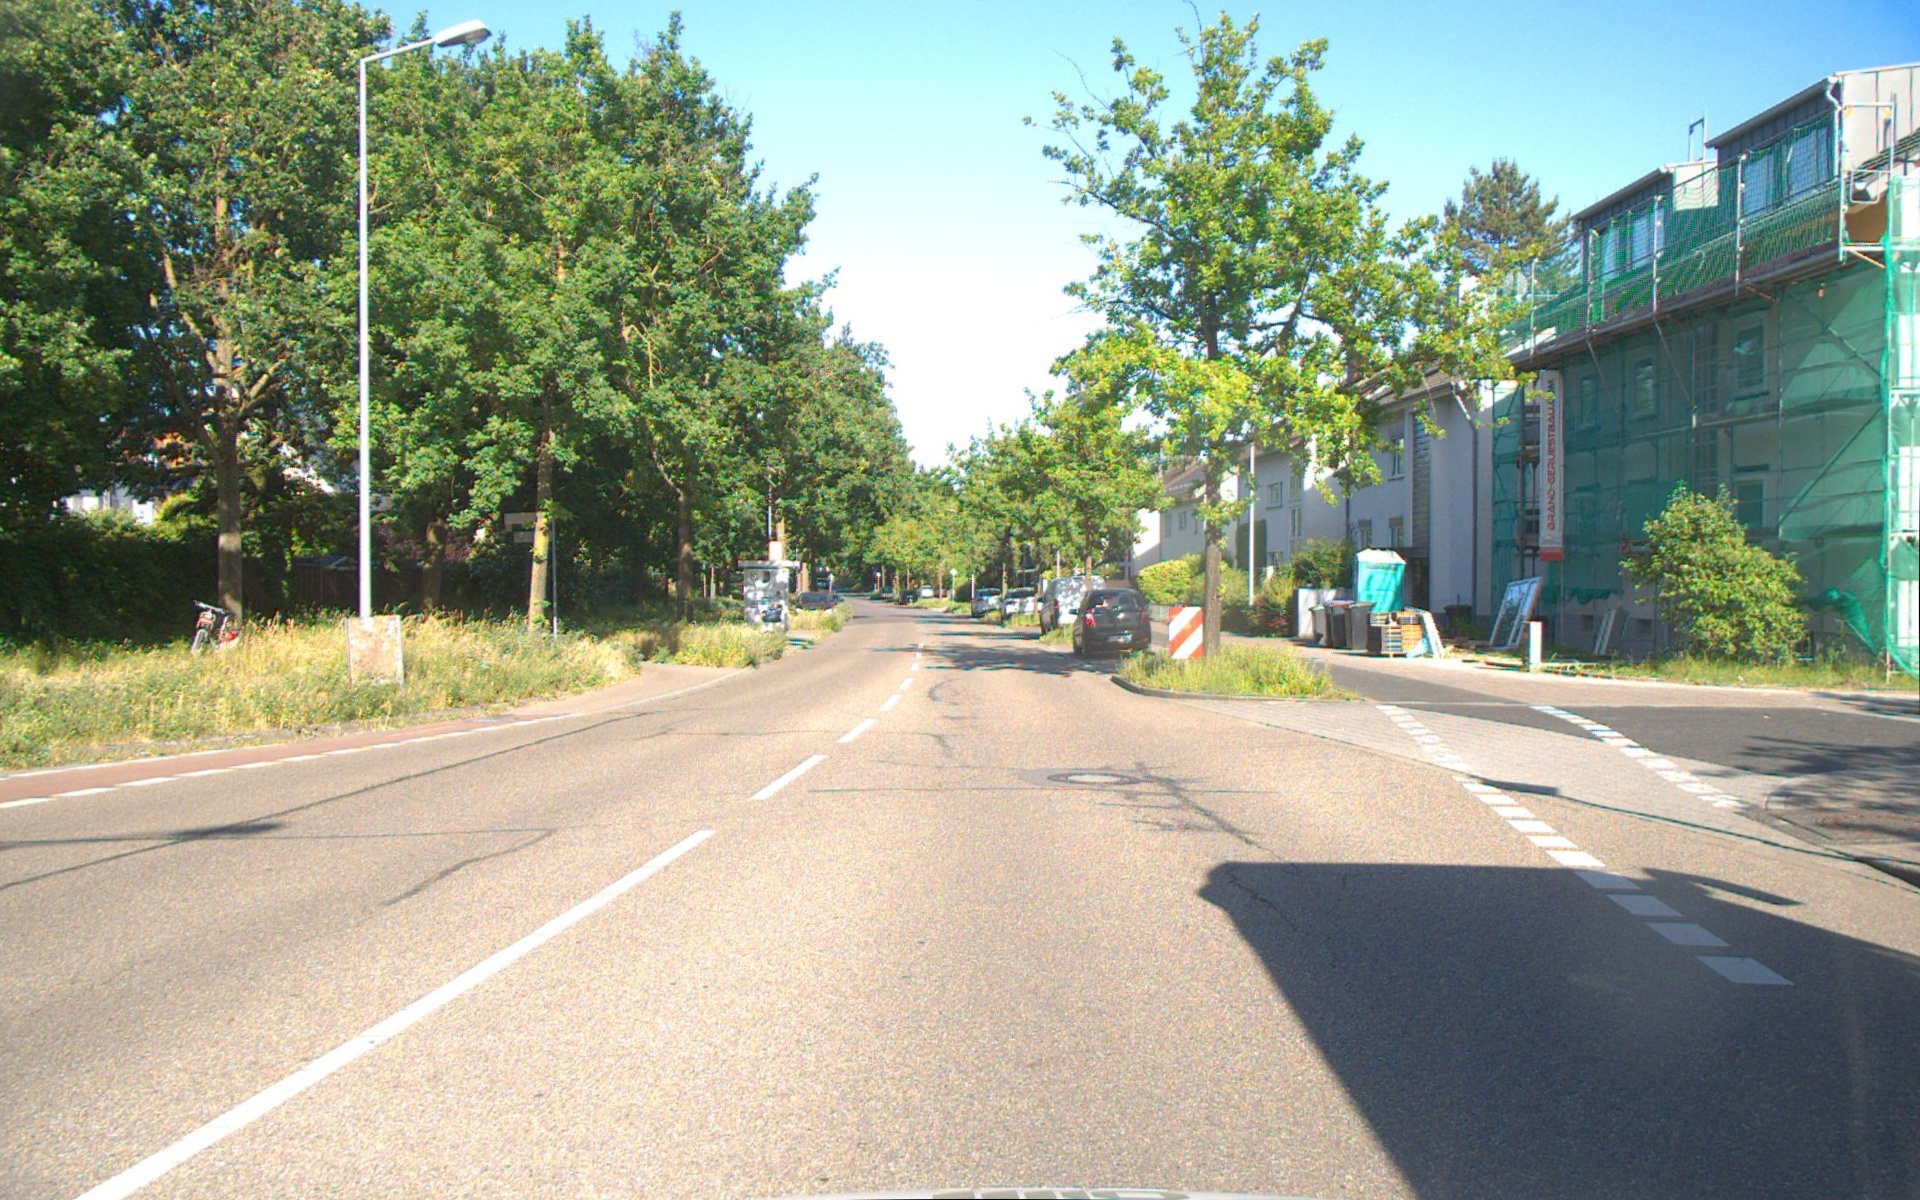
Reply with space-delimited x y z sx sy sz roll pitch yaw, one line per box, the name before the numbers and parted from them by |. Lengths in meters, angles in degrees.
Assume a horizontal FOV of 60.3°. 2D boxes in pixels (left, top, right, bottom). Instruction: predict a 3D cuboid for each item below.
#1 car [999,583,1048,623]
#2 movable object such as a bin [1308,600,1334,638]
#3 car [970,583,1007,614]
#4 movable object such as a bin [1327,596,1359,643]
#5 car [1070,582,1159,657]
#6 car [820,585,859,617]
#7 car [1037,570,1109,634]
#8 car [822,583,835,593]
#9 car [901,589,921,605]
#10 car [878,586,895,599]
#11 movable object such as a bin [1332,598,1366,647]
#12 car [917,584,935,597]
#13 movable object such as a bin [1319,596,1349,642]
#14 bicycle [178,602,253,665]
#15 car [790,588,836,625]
car | 2.825 0.124 74.325 1.897 1.734 3.998 0 0 -3
movable object such as a bin | 8.968 0.472 41.126 0.518 0.948 0.549 0 0 -2
car | 1.662 -0.117 96.922 1.895 1.773 3.998 0 0 -3
movable object such as a bin | 8.890 0.447 38.409 0.591 1.088 0.646 0 0 -2
car | 3.555 0.414 38.631 1.638 1.606 3.751 -2 0 -1
car | -6.215 0.055 85.076 1.955 1.584 3.996 1 0 -5
car | 3.645 0.051 53.956 1.799 2.005 4.756 0 0 -3
car | -19.691 -1.742 247.352 1.895 1.479 3.997 0 0 -4
car | -4.936 -0.318 165.830 1.895 1.569 3.998 0 0 -3
car | -8.626 -0.911 193.791 1.895 1.479 3.997 0 0 -4
movable object such as a bin | 8.798 0.501 37.412 0.591 1.088 0.646 0 0 -2
car | -3.912 -1.052 191.901 1.895 1.479 3.997 0 0 -4
movable object such as a bin | 8.870 0.441 39.234 0.591 1.088 0.567 0 0 -2
bicycle | -13.220 0.582 29.419 0.495 1.072 1.880 0 0 0
car | -6.139 0.253 69.427 1.898 1.505 3.997 0 0 -4
